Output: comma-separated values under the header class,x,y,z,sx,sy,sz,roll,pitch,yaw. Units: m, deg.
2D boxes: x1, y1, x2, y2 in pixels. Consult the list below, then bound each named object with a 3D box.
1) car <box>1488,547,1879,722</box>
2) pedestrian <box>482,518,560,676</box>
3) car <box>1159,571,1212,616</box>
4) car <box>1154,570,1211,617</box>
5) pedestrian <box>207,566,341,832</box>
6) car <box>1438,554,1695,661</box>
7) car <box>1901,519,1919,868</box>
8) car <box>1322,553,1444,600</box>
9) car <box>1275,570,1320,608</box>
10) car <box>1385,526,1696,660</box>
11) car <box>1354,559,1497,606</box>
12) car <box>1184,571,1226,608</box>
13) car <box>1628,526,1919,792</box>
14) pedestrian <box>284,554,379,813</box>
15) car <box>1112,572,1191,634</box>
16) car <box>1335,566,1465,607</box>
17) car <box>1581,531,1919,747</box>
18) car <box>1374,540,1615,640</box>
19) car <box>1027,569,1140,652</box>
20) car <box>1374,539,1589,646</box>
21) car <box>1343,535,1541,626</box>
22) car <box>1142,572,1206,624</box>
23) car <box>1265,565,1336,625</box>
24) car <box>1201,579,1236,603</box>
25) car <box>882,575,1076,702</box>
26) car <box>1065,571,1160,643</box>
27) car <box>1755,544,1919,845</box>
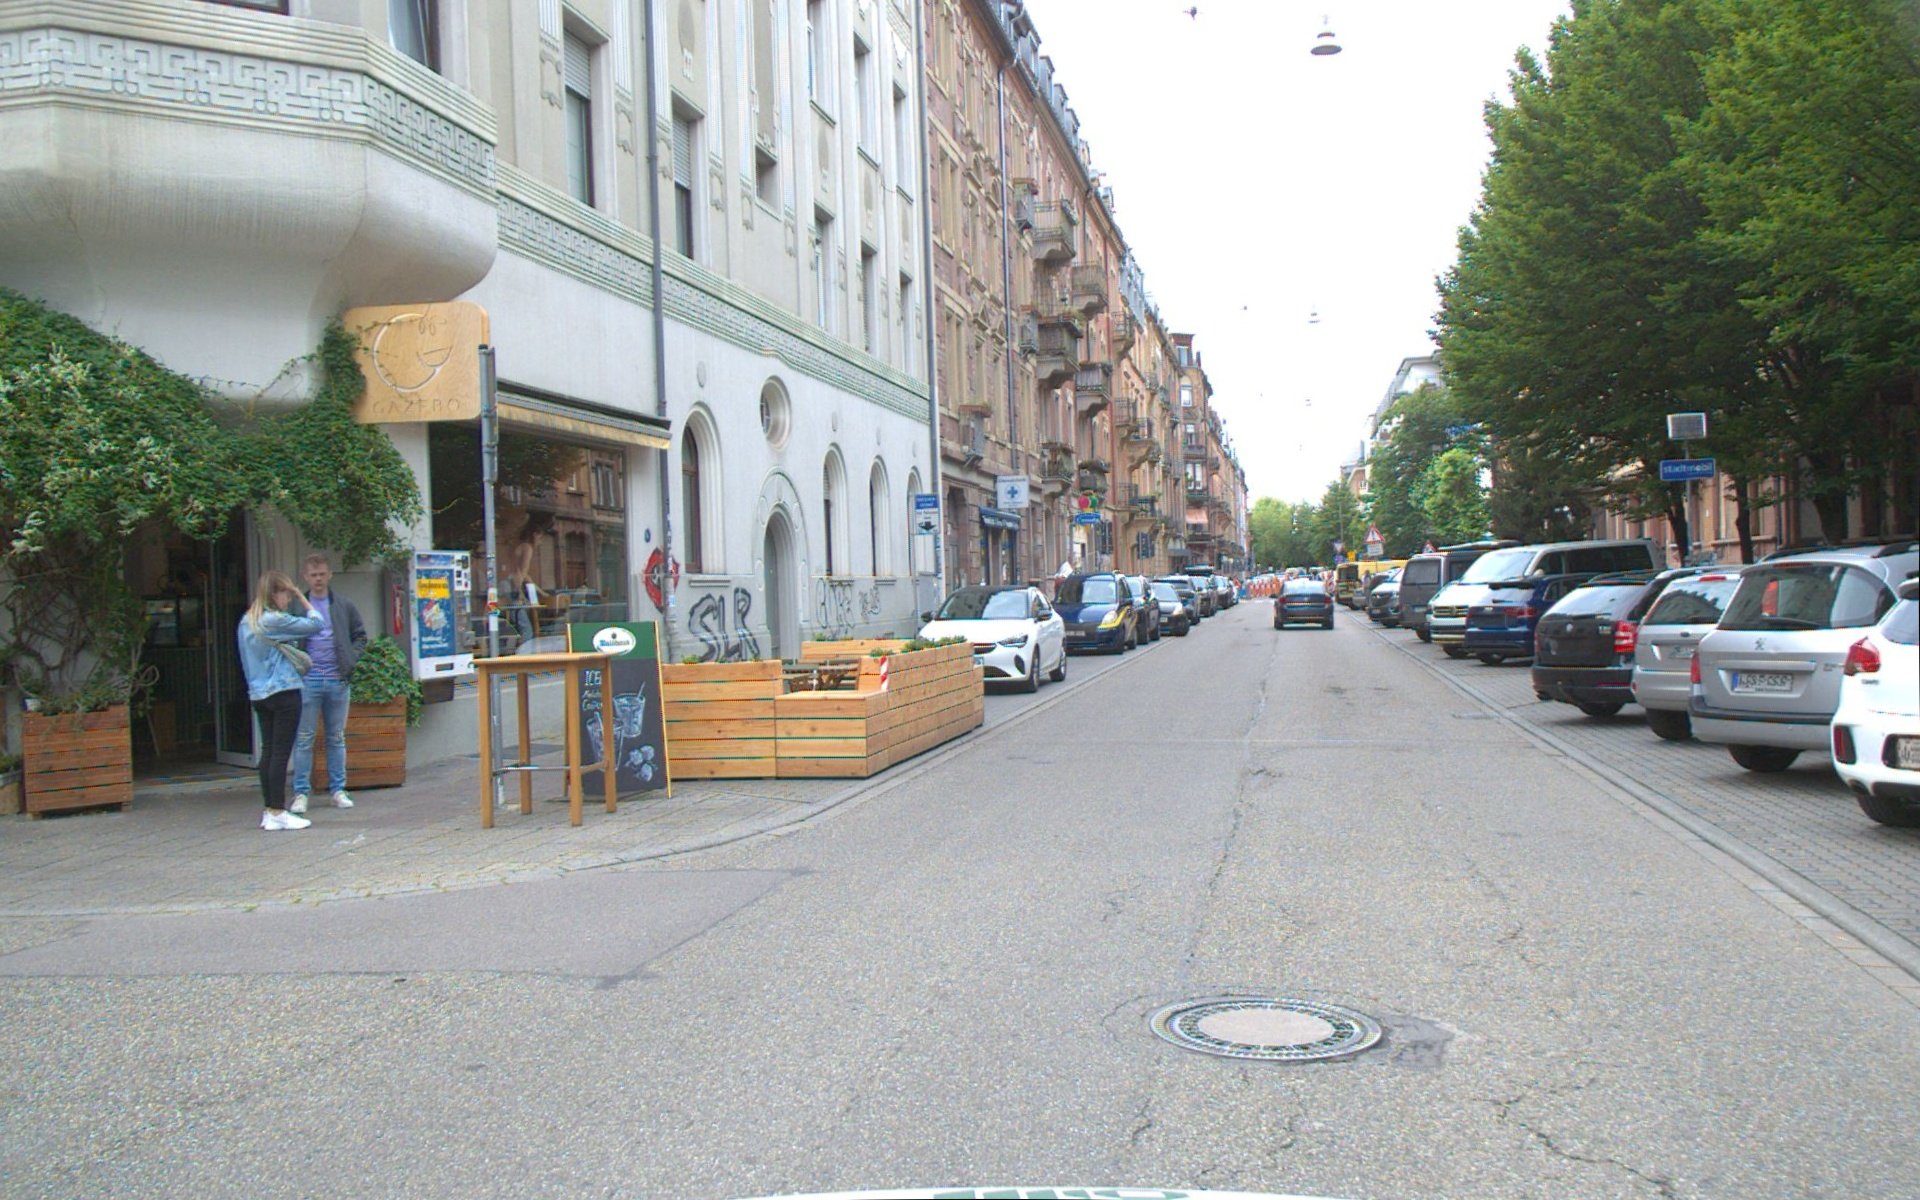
class,x,y,z,sx,sy,sz,roll,pitch,yaw
car,7.557,0.318,17.230,3.809,1.531,1.754,-3,0,-29
pedestrian,-4.634,-0.031,17.438,0.732,1.621,0.615,-1,-1,-19
car,9.325,-0.255,68.163,1.902,1.772,3.946,-1,0,11
car,8.360,-0.248,61.925,1.902,1.645,3.946,-1,0,10
pedestrian,-4.518,0.635,10.896,0.568,1.689,0.574,-2,-1,32
car,10.042,0.122,27.411,3.799,1.531,1.759,-3,0,-23
car,5.747,0.385,6.002,3.988,1.612,1.892,-3,0,-20
car,19.797,-1.084,77.410,5.305,1.900,1.940,-3,0,-19
car,16.167,-0.501,79.414,1.951,1.710,4.003,-2,-1,10
car,10.782,-0.146,30.663,5.532,2.164,1.937,-3,0,-23
car,18.669,-0.697,66.313,5.305,1.580,1.940,-3,0,-19
car,12.683,-0.554,85.461,1.902,1.768,3.946,-2,0,11
car,6.994,0.296,11.724,3.987,1.612,1.761,-3,0,-20
pedestrian,-4.436,0.572,11.665,0.571,1.765,0.502,-1,-1,-25
car,5.422,0.067,46.436,1.902,1.645,3.946,-1,0,10
car,19.247,-0.595,72.409,5.304,1.580,1.940,-2,0,-19
car,7.629,0.258,14.434,3.992,1.612,1.759,-3,0,-23
car,12.461,-0.246,38.541,5.314,2.027,1.937,-3,0,-23
car,2.694,0.205,35.231,1.902,1.645,3.946,-1,0,11
car,10.894,-0.169,34.661,3.915,2.049,1.746,-2,0,-11
car,14.431,-0.579,49.615,5.289,2.415,1.946,-3,0,-10
car,7.349,-0.096,56.606,1.902,1.645,3.946,-2,0,10
car,10.350,-0.123,50.518,1.951,1.710,4.003,-2,-1,10
car,15.622,-0.551,100.118,1.951,1.344,4.003,-2,0,8
car,0.371,0.498,23.701,1.903,1.580,3.820,-3,0,14
car,3.795,0.145,40.598,1.902,1.645,3.946,-1,0,11
car,6.568,0.382,9.217,3.996,1.512,1.669,-3,0,-25
